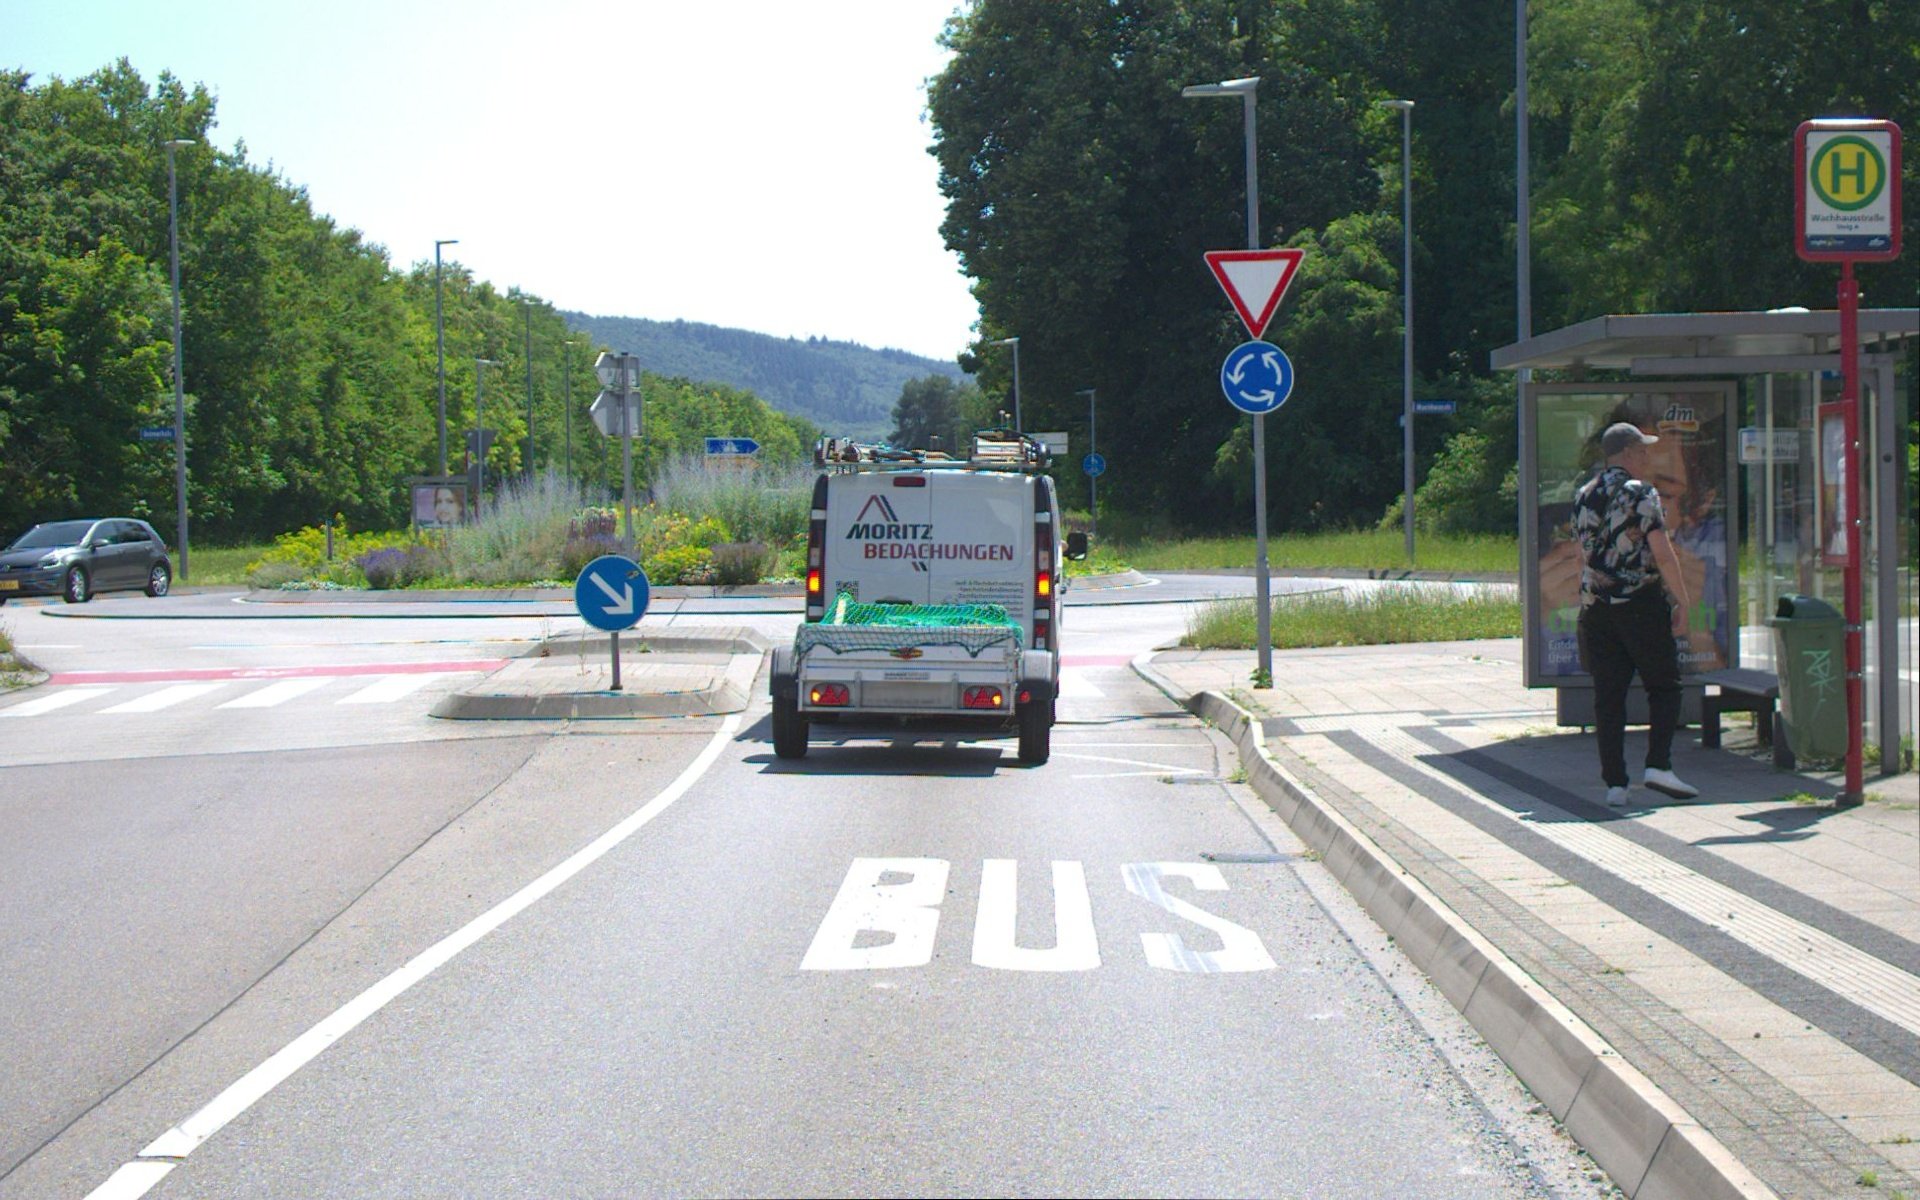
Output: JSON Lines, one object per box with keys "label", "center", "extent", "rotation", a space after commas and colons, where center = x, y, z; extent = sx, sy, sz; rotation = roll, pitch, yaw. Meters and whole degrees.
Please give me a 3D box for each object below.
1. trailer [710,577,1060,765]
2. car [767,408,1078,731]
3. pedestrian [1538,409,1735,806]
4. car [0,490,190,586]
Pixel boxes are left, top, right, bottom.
{"label": "trailer", "center": [-0.422, 0.432, 23.051], "extent": [2.121, 1.093, 3.354], "rotation": [0, 1, 3]}
{"label": "car", "center": [-0.188, -0.280, 27.193], "extent": [2.166, 2.308, 4.981], "rotation": [0, 1, 3]}
{"label": "pedestrian", "center": [3.217, 0.028, 16.303], "extent": [0.709, 1.816, 0.826], "rotation": [-2, 1, 21]}
{"label": "car", "center": [-15.298, -1.074, 58.969], "extent": [1.995, 1.473, 4.285], "rotation": [-1, 3, 21]}
